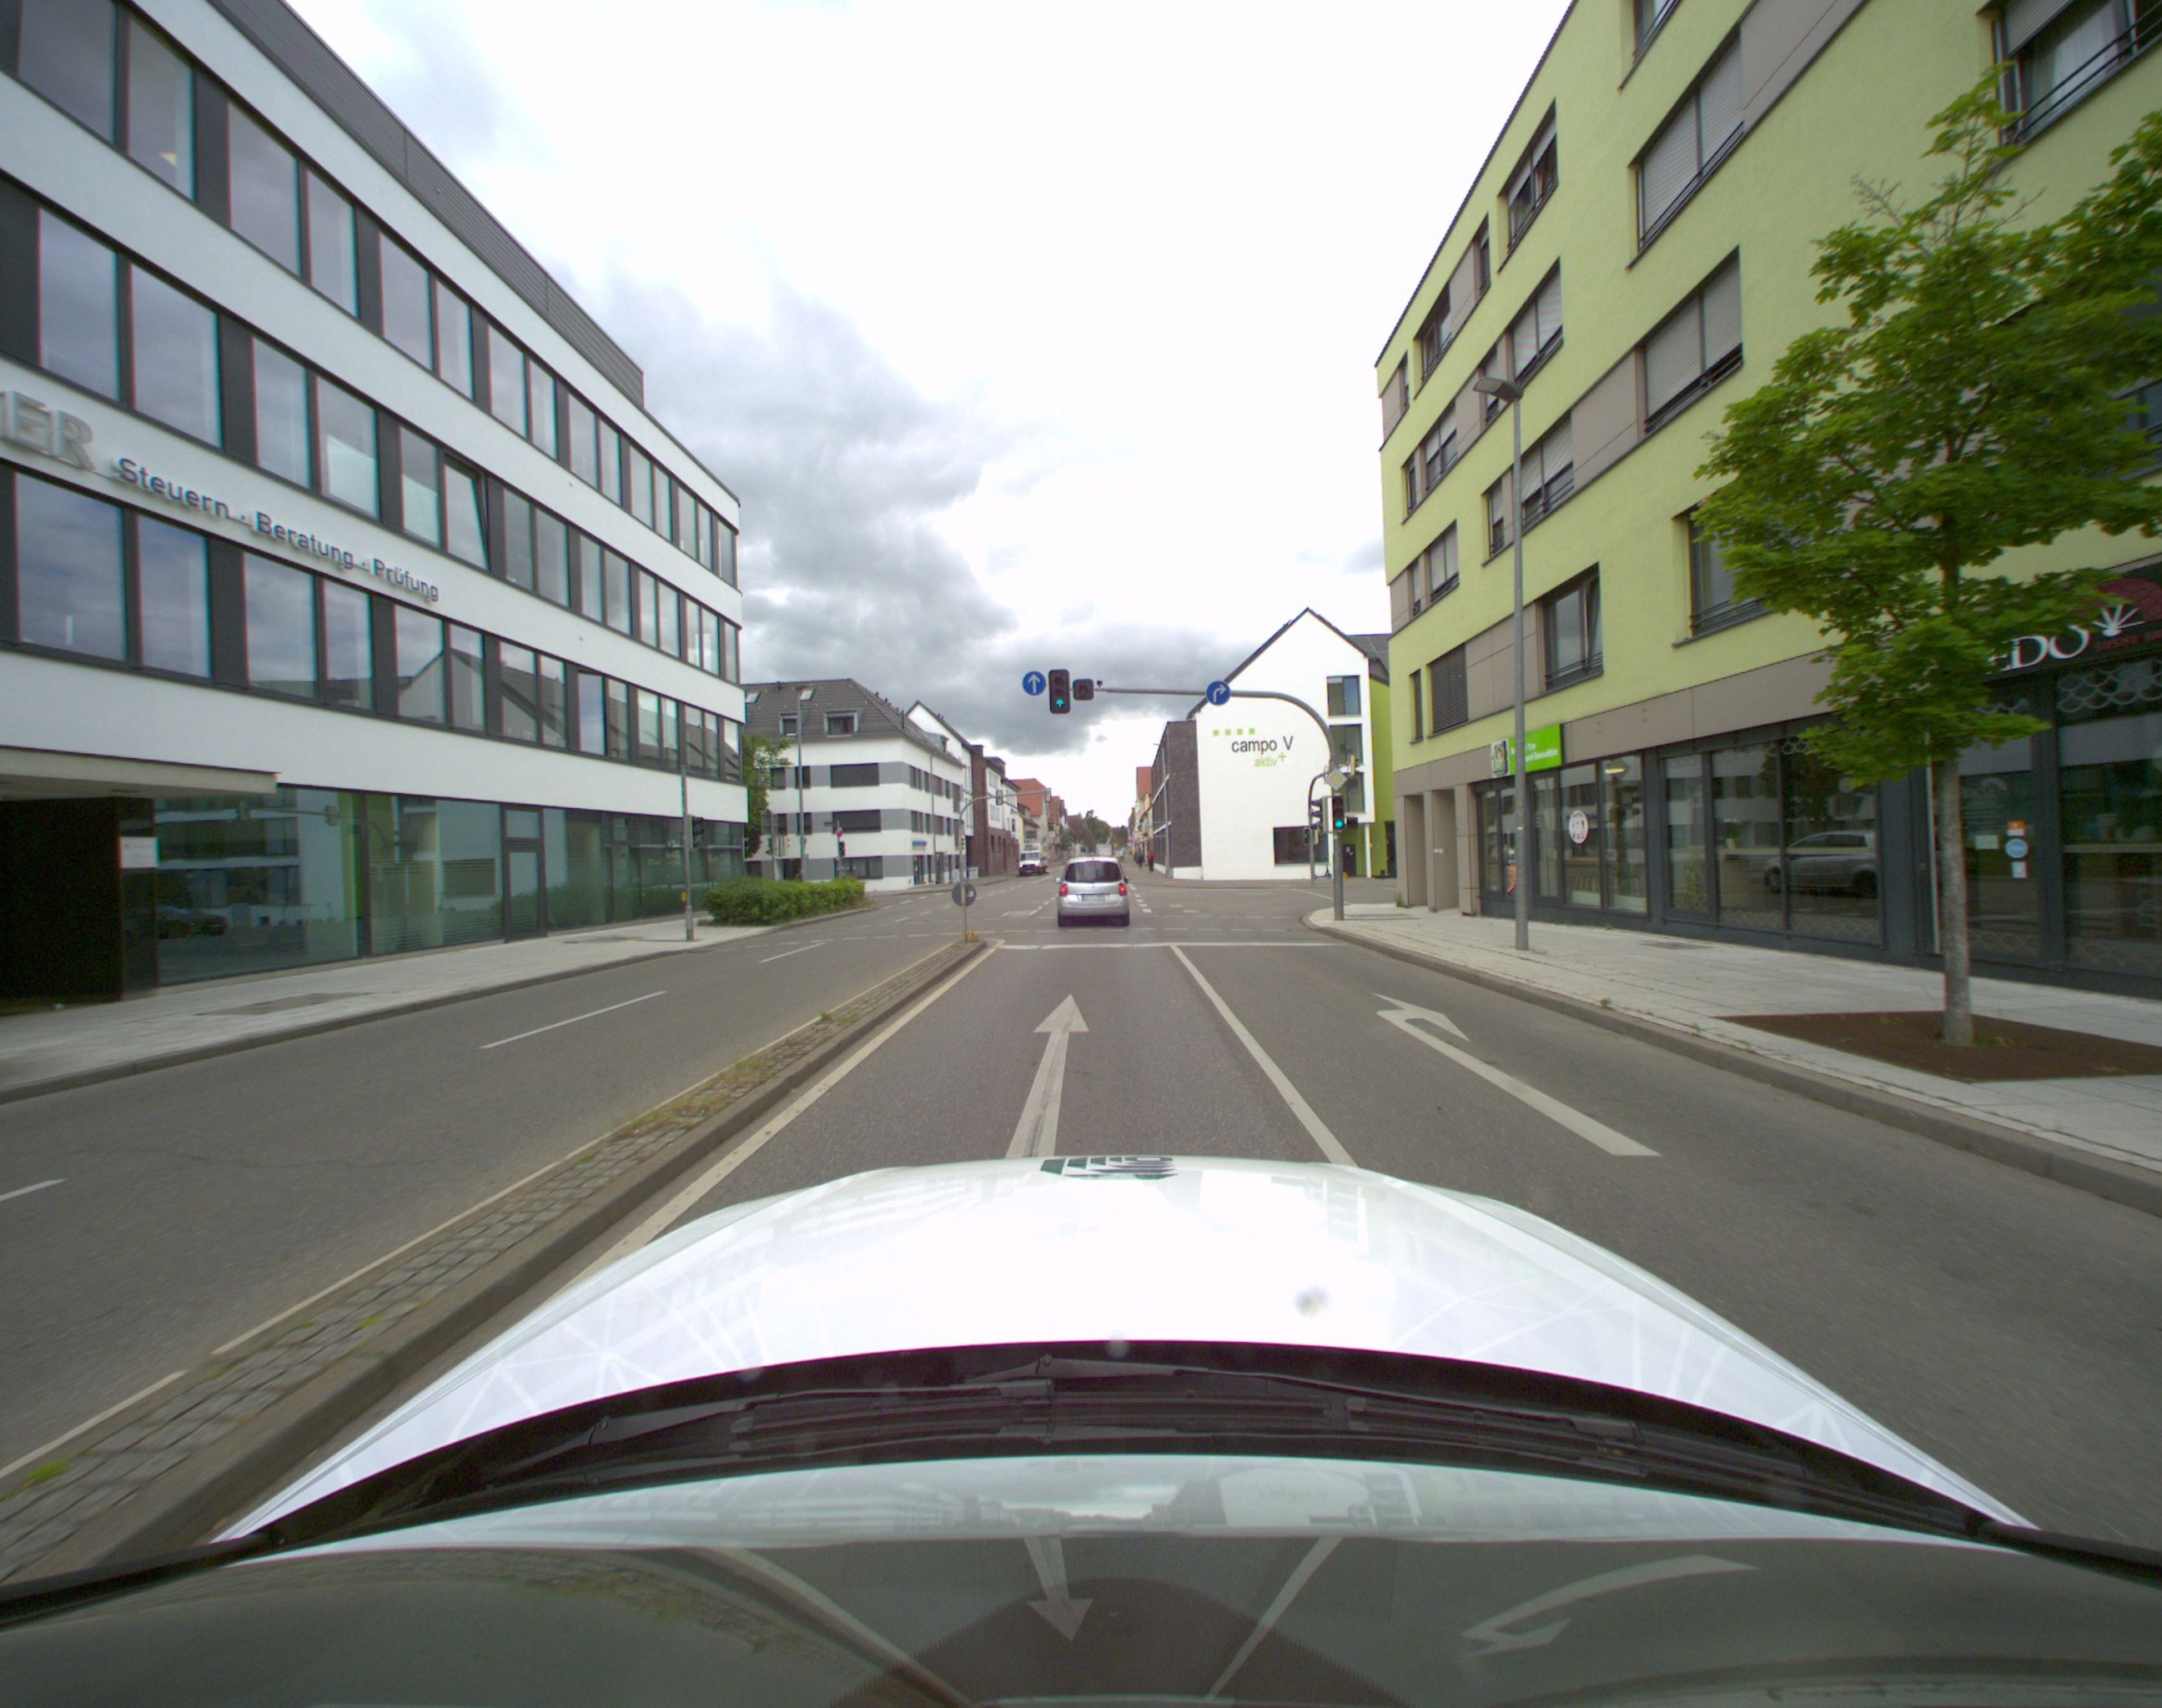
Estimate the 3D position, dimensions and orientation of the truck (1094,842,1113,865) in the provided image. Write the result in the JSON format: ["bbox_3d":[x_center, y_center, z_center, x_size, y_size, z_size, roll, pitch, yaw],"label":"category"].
[{"bbox_3d":[3.824,-0.053,140.542,2.591,3.857,6.838,-2,0,-4],"label":"truck"}]

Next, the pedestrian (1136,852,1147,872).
[{"bbox_3d":[5.894,0.780,79.398,0.886,1.786,0.785,-5,0,2],"label":"pedestrian"}]

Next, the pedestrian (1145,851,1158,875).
[{"bbox_3d":[5.376,0.696,62.428,0.804,1.786,0.861,-5,0,2],"label":"pedestrian"}]

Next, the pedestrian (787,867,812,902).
[{"bbox_3d":[-14.173,1.539,40.944,0.889,1.669,0.805,-4,3,-38],"label":"pedestrian"}]

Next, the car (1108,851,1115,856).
[{"bbox_3d":[8.331,-0.161,223.690,1.805,1.354,4.003,-3,0,3],"label":"car"}]

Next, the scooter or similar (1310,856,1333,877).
[{"bbox_3d":[14.228,0.757,48.118,1.225,1.235,0.407,-1,0,2],"label":"scooter or similar"}]

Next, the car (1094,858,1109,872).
[{"bbox_3d":[2.468,1.253,95.648,1.700,1.579,4.002,-1,0,2],"label":"car"}]

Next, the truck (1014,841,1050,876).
[{"bbox_3d":[-4.466,0.352,75.772,2.426,2.953,8.368,-2,0,2],"label":"truck"}]

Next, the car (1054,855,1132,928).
[{"bbox_3d":[0.333,0.823,19.983,1.700,1.579,4.002,-1,0,2],"label":"car"}]

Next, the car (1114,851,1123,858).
[{"bbox_3d":[8.024,0.179,175.329,1.805,1.354,4.003,-3,0,3],"label":"car"}]
